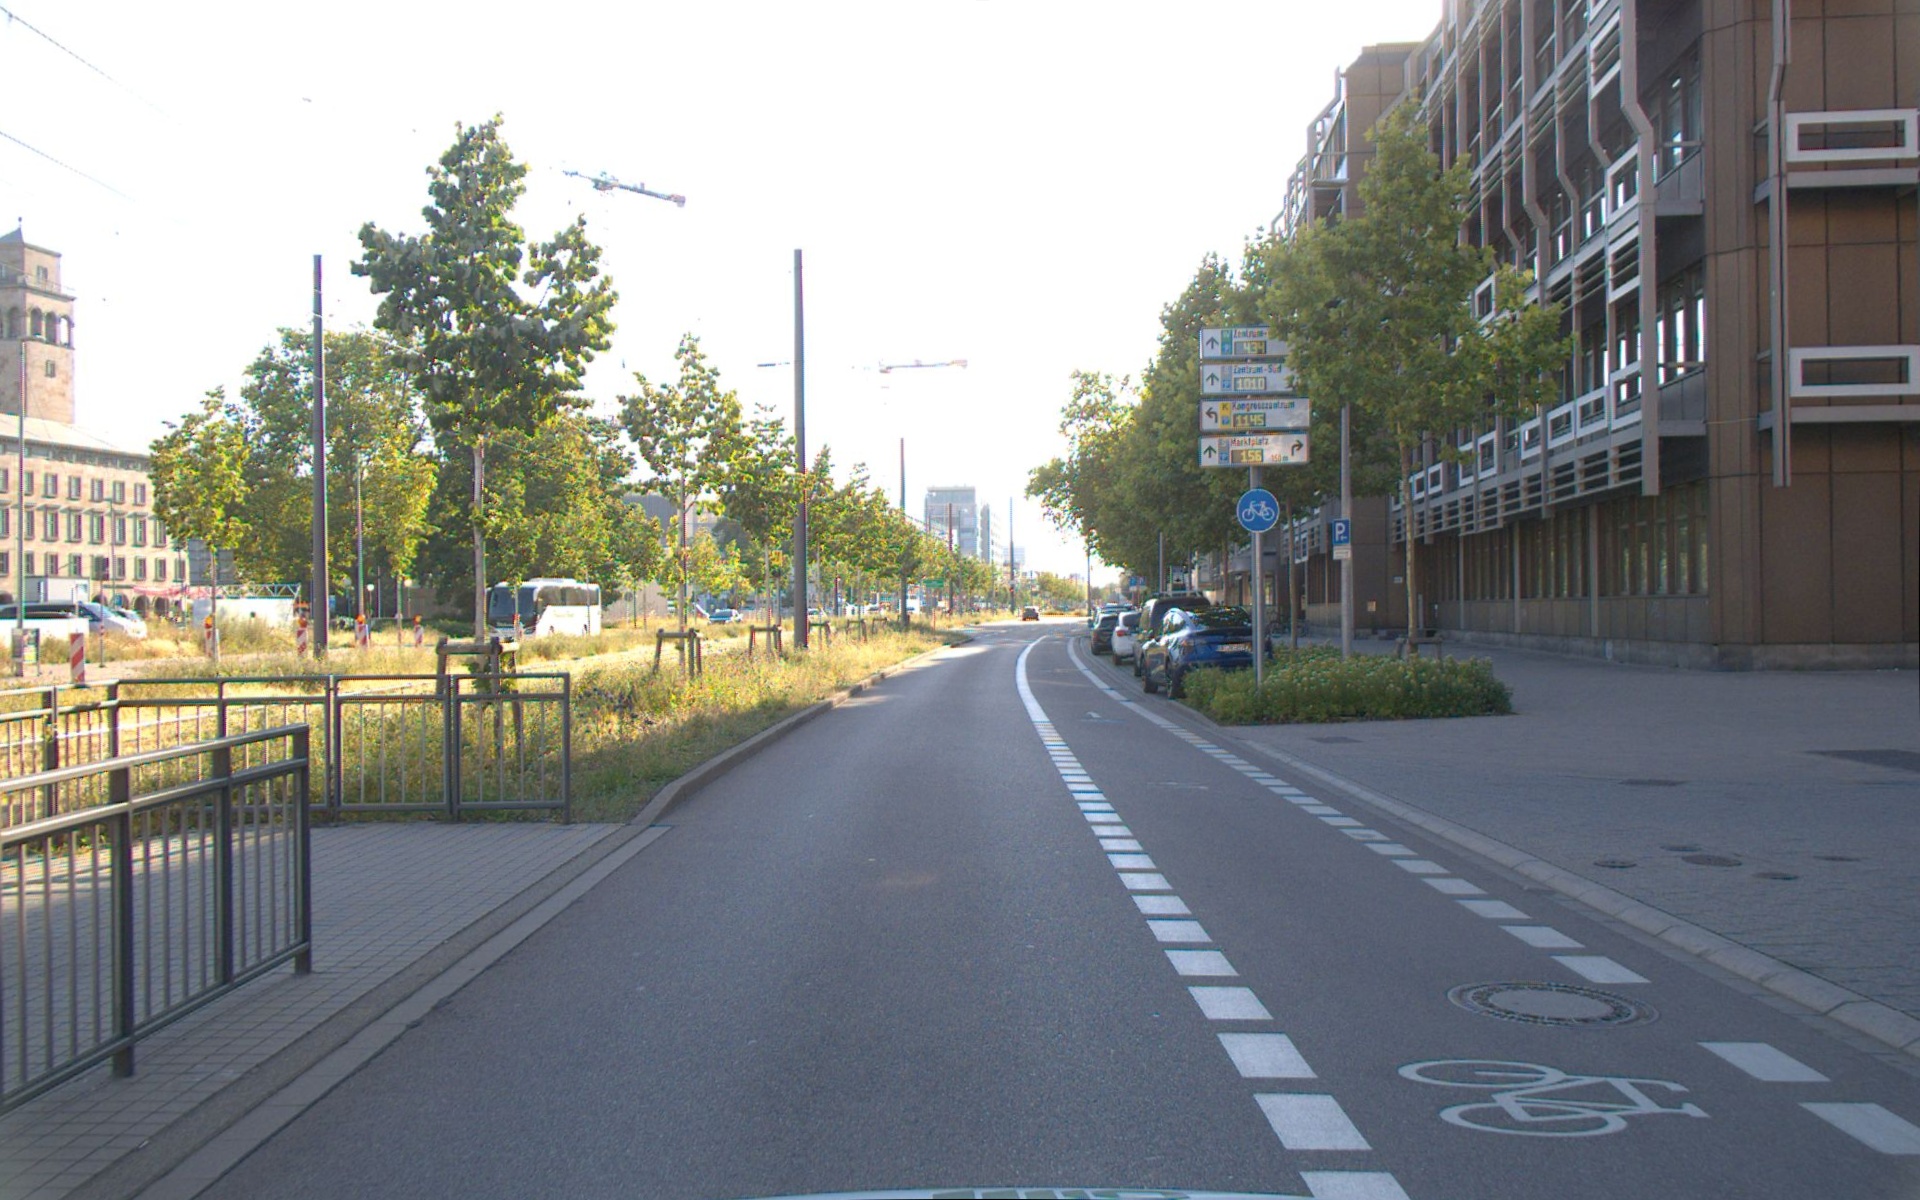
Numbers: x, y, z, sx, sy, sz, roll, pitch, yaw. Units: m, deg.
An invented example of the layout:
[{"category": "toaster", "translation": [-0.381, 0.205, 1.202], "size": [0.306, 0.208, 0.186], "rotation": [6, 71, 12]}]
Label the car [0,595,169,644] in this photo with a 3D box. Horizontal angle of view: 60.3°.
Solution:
[{"category": "car", "translation": [-32.214, 0.722, 60.906], "size": [5.117, 1.747, 2.125], "rotation": [0, -1, 2]}]

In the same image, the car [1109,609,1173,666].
[{"category": "car", "translation": [5.192, 1.053, 47.936], "size": [1.629, 1.516, 4.205], "rotation": [-2, -1, 4]}]

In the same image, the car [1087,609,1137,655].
[{"category": "car", "translation": [5.915, 1.228, 64.652], "size": [1.692, 1.650, 4.217], "rotation": [-2, -1, 3]}]

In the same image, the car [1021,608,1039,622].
[{"category": "car", "translation": [7.285, 1.585, 172.611], "size": [1.739, 1.453, 4.002], "rotation": [1, -1, 4]}]

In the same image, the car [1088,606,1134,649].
[{"category": "car", "translation": [6.409, 1.153, 70.578], "size": [1.692, 1.718, 4.516], "rotation": [-2, -1, 3]}]

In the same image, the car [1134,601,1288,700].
[{"category": "car", "translation": [4.558, 0.897, 30.693], "size": [1.893, 1.626, 4.696], "rotation": [-2, -1, -3]}]

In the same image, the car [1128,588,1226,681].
[{"category": "car", "translation": [4.947, 0.772, 38.205], "size": [1.699, 1.953, 4.393], "rotation": [-2, -1, 1]}]

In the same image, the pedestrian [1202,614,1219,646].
[{"category": "pedestrian", "translation": [13.223, 1.567, 87.311], "size": [0.772, 1.677, 1.137], "rotation": [-1, -1, 4]}]

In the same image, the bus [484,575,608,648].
[{"category": "bus", "translation": [-22.351, 0.670, 90.254], "size": [2.740, 3.658, 12.703], "rotation": [0, -1, 4]}]

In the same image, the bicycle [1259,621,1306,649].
[{"category": "bicycle", "translation": [13.475, 1.457, 69.022], "size": [1.861, 1.112, 0.392], "rotation": [-1, -1, -2]}]

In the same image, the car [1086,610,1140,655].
[{"category": "car", "translation": [5.430, 1.131, 58.995], "size": [1.757, 1.474, 4.378], "rotation": [-2, -1, 4]}]

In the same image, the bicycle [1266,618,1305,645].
[{"category": "bicycle", "translation": [14.021, 1.353, 71.340], "size": [1.592, 1.101, 0.392], "rotation": [-1, -1, 6]}]

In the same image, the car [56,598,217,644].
[{"category": "car", "translation": [-31.650, 0.819, 63.675], "size": [5.117, 1.747, 2.125], "rotation": [0, -1, 2]}]
